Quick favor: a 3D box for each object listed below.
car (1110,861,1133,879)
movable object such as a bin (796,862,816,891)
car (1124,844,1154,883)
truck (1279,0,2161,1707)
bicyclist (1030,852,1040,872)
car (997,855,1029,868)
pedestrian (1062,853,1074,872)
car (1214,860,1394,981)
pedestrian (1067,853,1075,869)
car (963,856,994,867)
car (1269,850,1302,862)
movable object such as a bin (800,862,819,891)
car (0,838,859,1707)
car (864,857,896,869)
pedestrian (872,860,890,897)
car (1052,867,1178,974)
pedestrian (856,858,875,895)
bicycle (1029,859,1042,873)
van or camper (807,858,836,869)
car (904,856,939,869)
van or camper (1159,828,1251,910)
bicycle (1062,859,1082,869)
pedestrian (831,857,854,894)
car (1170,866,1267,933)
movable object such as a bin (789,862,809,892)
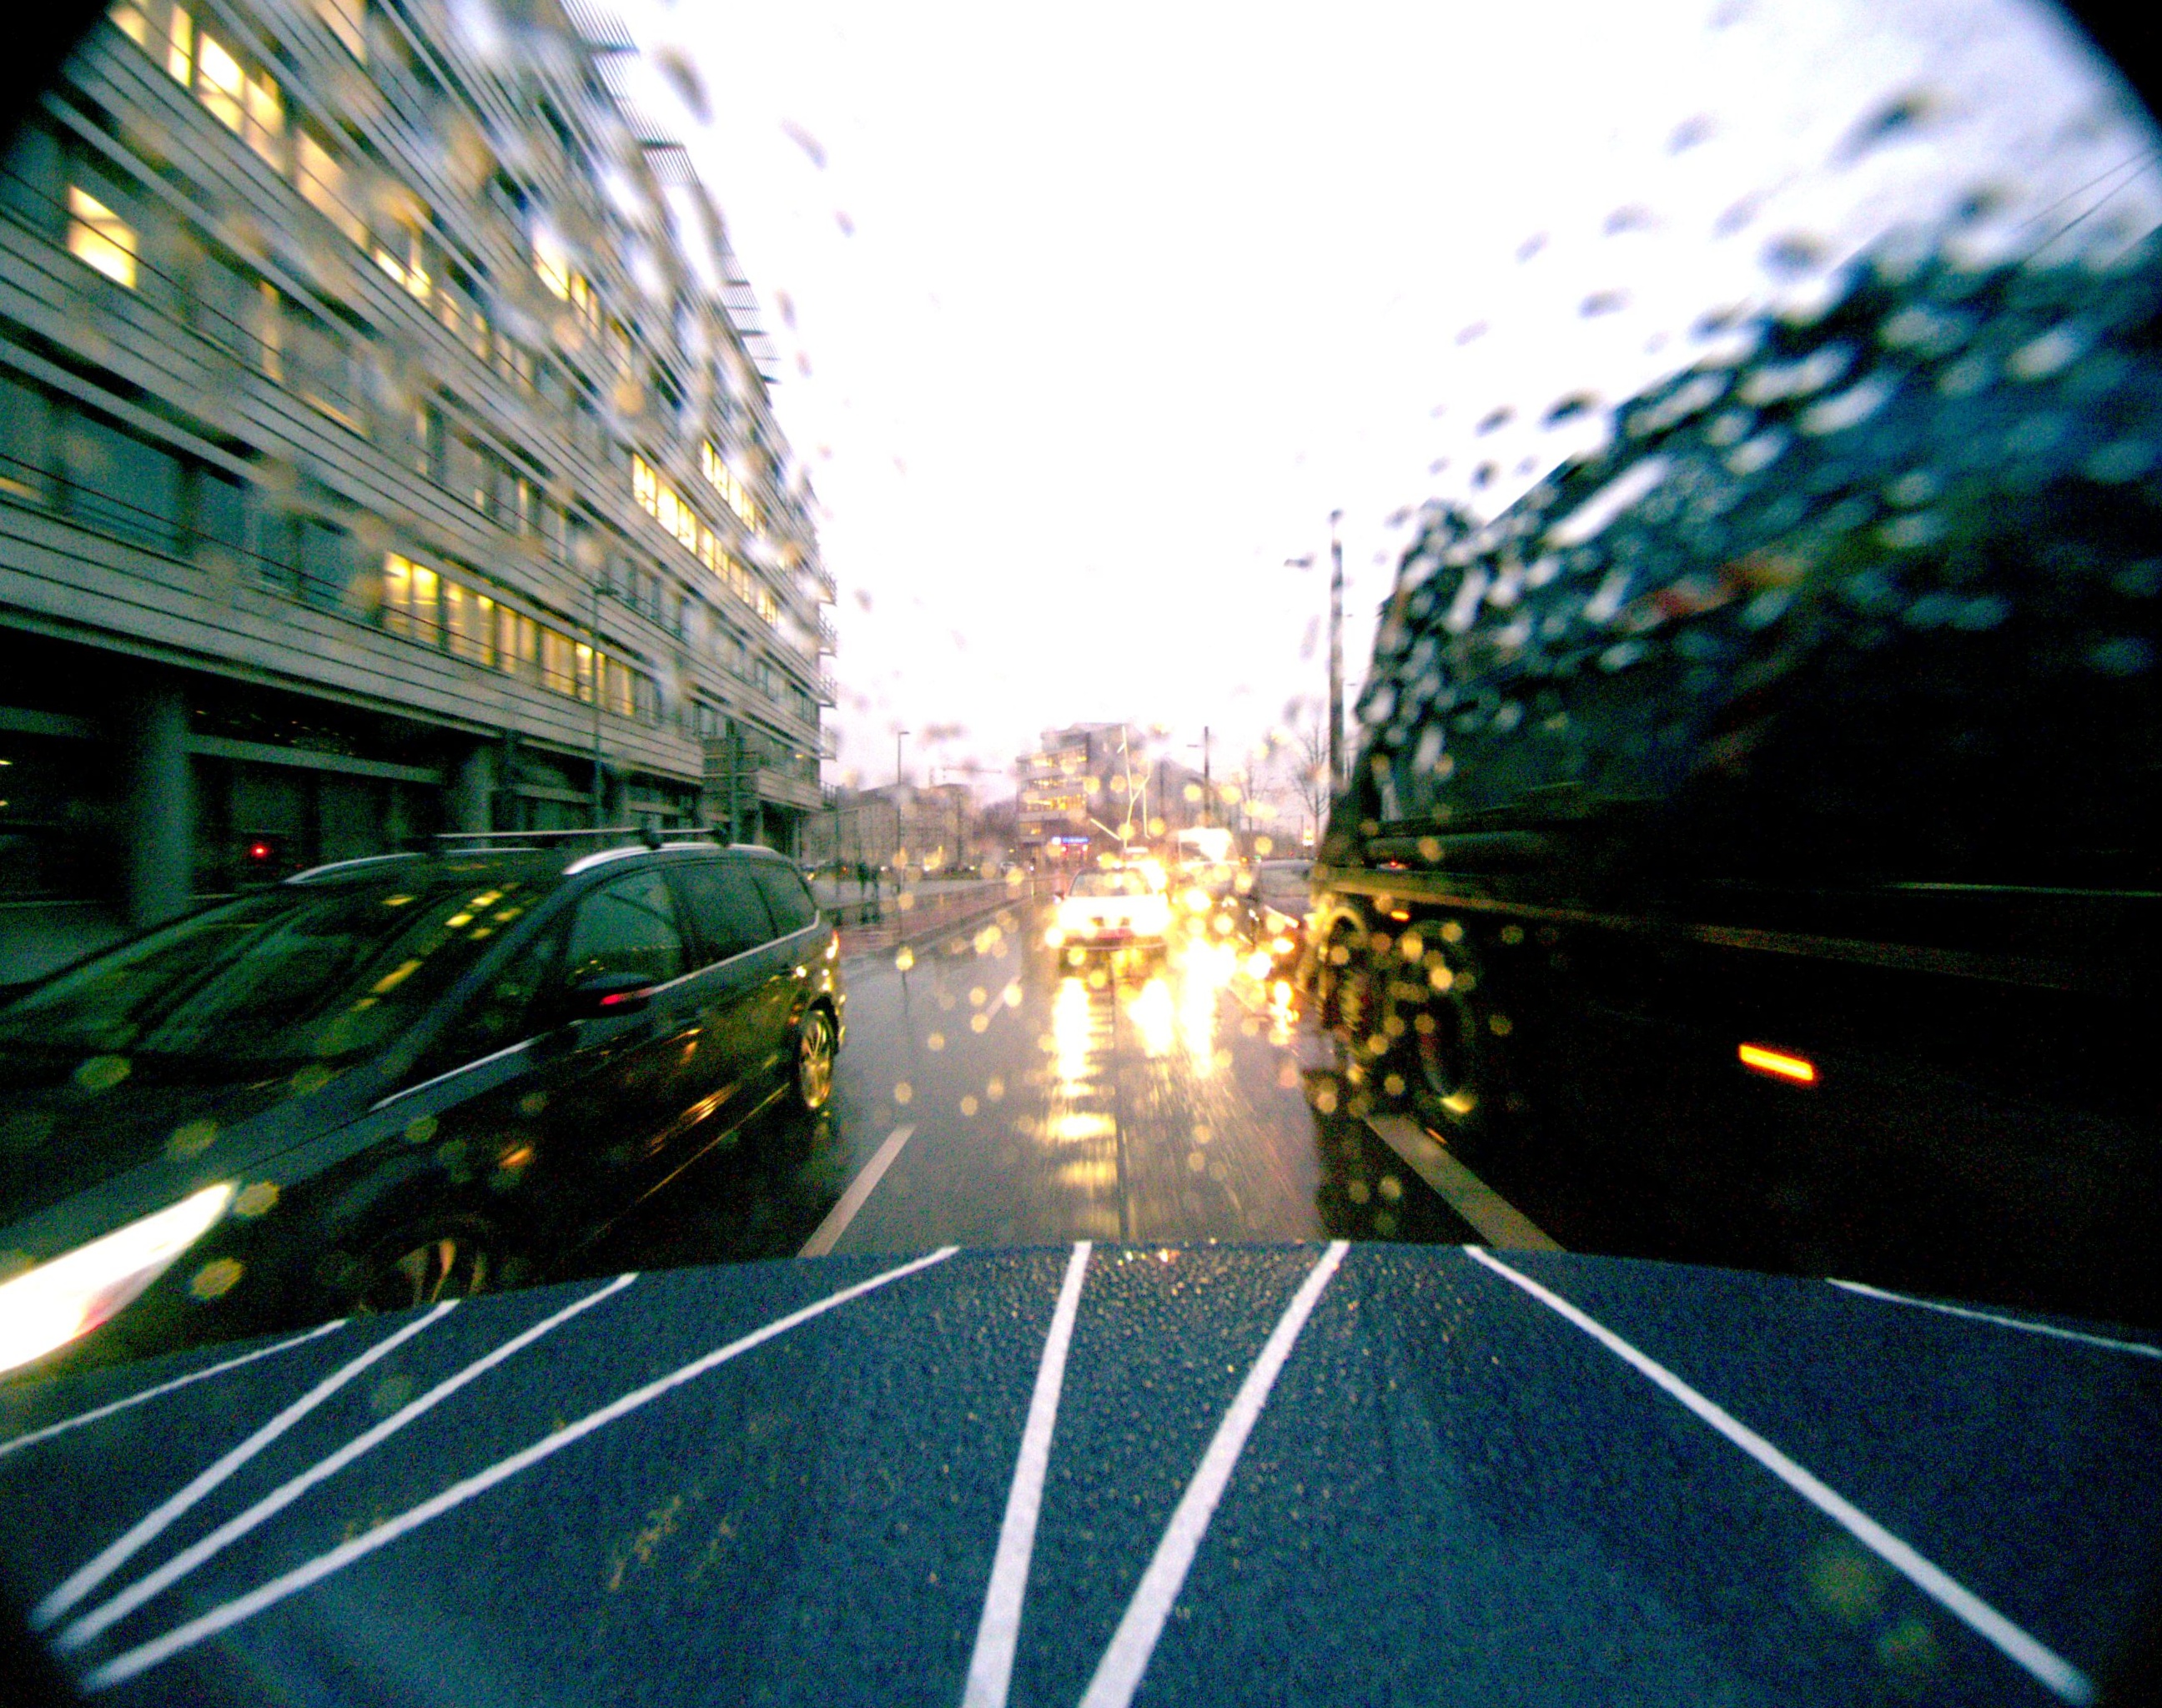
[{"bbox_3d":[4.259,1.665,80.553,2.170,1.744,4.540,0,2,0],"label":"car"},{"bbox_3d":[-13.732,1.118,37.955,0.666,1.420,0.840,-1,1,-3],"label":"movable object such as a bin"},{"bbox_3d":[4.604,0.714,59.446,2.128,2.847,5.816,-1,0,6],"label":"car"},{"bbox_3d":[3.092,-0.255,2.724,2.846,3.612,7.526,-1,0,1],"label":"truck"},{"bbox_3d":[-4.179,0.738,69.341,0.670,1.787,0.807,0,1,14],"label":"bicyclist"},{"bbox_3d":[-9.206,0.973,103.209,3.918,1.699,1.782,-1,0,14],"label":"car"},{"bbox_3d":[-1.419,0.916,83.802,1.118,2.002,1.034,0,1,15],"label":"pedestrian"},{"bbox_3d":[3.243,0.884,11.841,1.634,1.514,3.941,0,0,0],"label":"car"},{"bbox_3d":[-1.193,0.823,88.605,0.892,1.783,0.668,0,1,4],"label":"pedestrian"},{"bbox_3d":[-14.102,1.002,104.357,3.759,1.528,1.782,-1,0,17],"label":"car"},{"bbox_3d":[25.370,0.293,94.314,1.796,1.412,3.890,-1,0,-28],"label":"car"},{"bbox_3d":[-13.905,1.137,38.884,0.666,1.468,0.840,-1,1,-3],"label":"movable object such as a bin"},{"bbox_3d":[-2.644,0.907,3.203,1.887,1.800,4.671,-2,0,1],"label":"car"},{"bbox_3d":[-28.971,1.285,109.611,3.997,1.663,2.002,-1,0,16],"label":"car"},{"bbox_3d":[-9.184,1.108,34.967,0.616,1.659,0.884,1,0,-3],"label":"pedestrian"},{"bbox_3d":[0.495,0.989,12.882,1.782,1.464,3.943,-1,0,0],"label":"car"},{"bbox_3d":[-9.897,1.029,34.953,0.651,1.692,0.884,1,0,-3],"label":"pedestrian"},{"bbox_3d":[-4.152,1.069,69.409,0.680,1.191,1.763,-1,0,14],"label":"bicycle"},{"bbox_3d":[-44.854,1.612,131.371,4.367,1.839,2.003,-2,0,21],"label":"van or camper"},{"bbox_3d":[-22.510,1.227,107.311,4.368,1.750,2.002,-1,0,16],"label":"car"},{"bbox_3d":[4.145,0.461,26.492,2.153,2.517,5.898,-1,0,-1],"label":"van or camper"},{"bbox_3d":[-1.057,1.123,88.636,2.203,1.182,0.668,0,1,4],"label":"bicycle"},{"bbox_3d":[-11.106,1.002,35.436,0.747,1.692,0.969,2,0,-3],"label":"pedestrian"},{"bbox_3d":[3.170,0.996,18.223,1.759,1.337,4.057,-1,0,3],"label":"car"},{"bbox_3d":[-13.729,1.101,37.058,0.666,1.420,0.840,-1,1,-3],"label":"movable object such as a bin"}]
